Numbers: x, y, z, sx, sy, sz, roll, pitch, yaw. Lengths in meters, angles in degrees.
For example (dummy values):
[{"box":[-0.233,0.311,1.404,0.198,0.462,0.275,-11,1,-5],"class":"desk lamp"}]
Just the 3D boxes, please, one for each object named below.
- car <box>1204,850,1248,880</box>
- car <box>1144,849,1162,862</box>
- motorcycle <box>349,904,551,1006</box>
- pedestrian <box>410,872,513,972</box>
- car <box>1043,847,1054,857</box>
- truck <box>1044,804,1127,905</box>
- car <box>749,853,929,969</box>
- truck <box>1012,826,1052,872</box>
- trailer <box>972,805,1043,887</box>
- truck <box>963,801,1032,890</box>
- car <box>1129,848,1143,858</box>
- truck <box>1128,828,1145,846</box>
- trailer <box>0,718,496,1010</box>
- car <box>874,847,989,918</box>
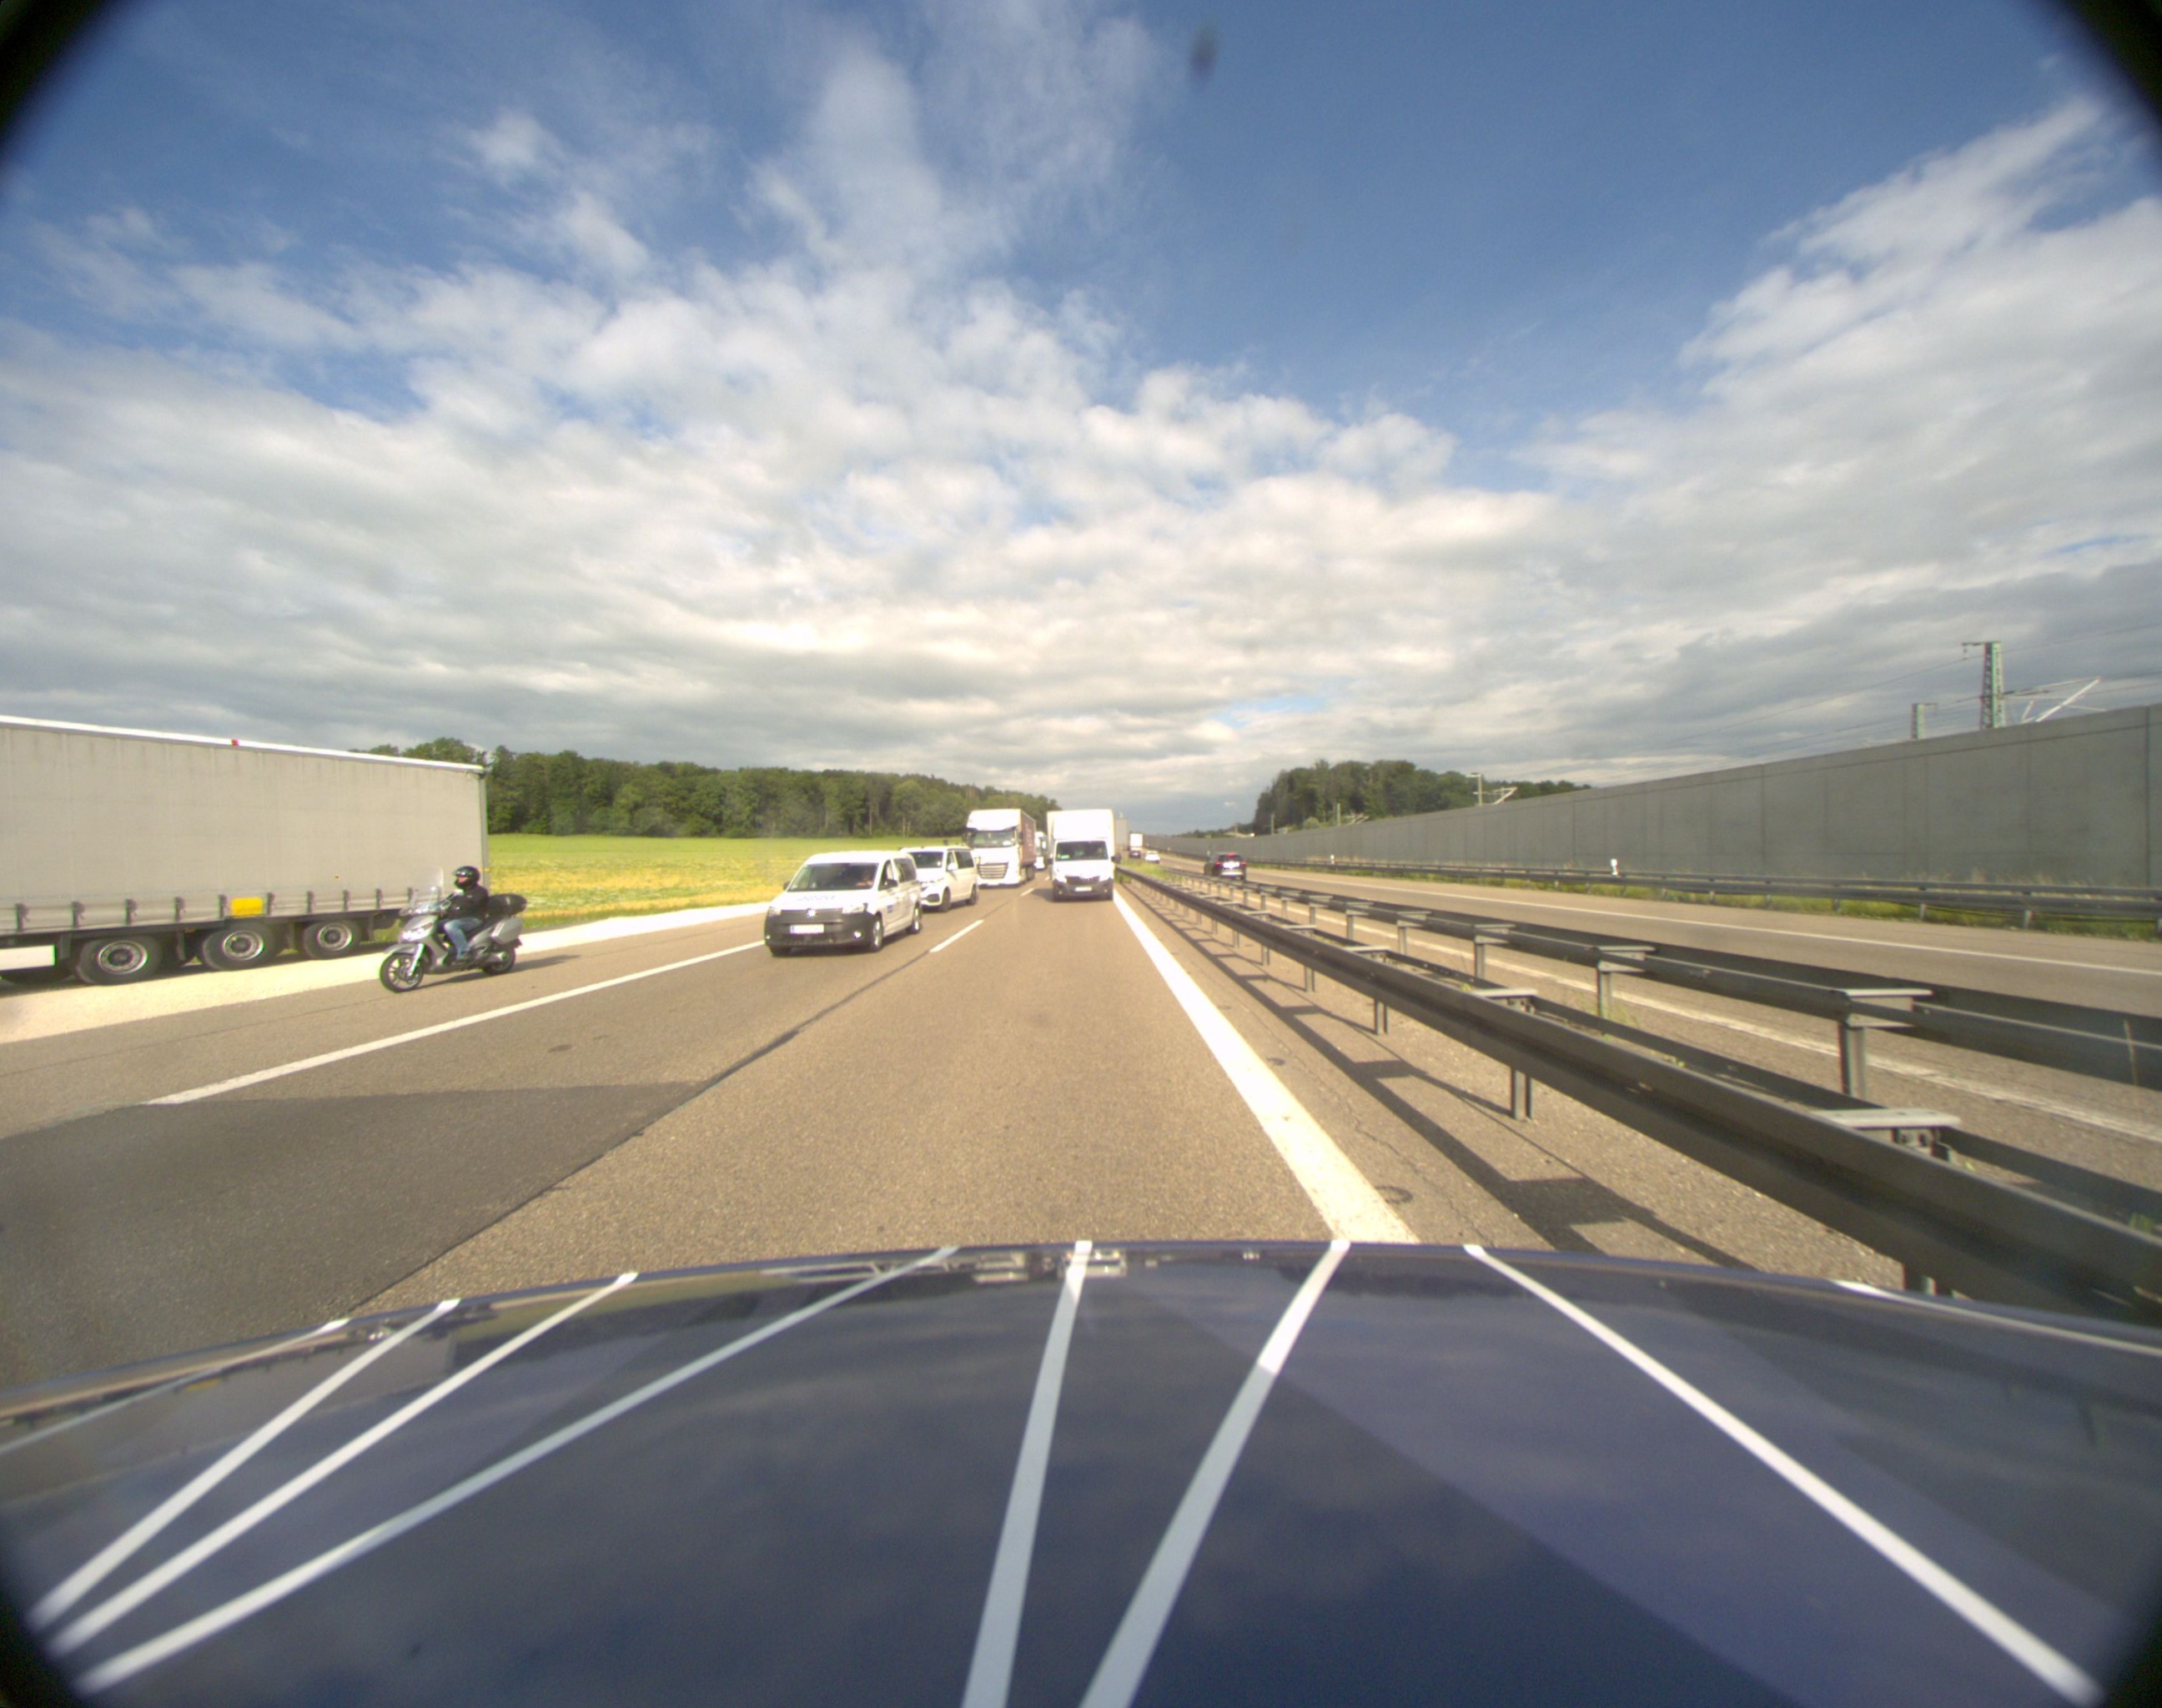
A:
[{"box":[8.326,0.608,43.876,1.720,1.586,4.449,-1,0,1],"class":"car"},{"box":[8.653,0.154,91.544,1.721,1.454,4.449,-1,0,0],"class":"car"},{"box":[-8.883,1.375,10.859,0.757,1.143,2.246,-1,0,9],"class":"motorcycle"},{"box":[-8.877,0.956,10.917,0.757,1.366,0.819,-1,1,9],"class":"pedestrian"},{"box":[-6.199,-0.382,145.107,1.707,1.746,4.676,-3,0,1],"class":"car"},{"box":[0.168,0.014,29.945,2.500,3.082,12.038,-2,0,0],"class":"truck"},{"box":[-4.275,0.901,14.289,1.729,1.746,4.702,-3,0,1],"class":"car"},{"box":[-4.638,-0.446,74.120,2.946,4.094,12.524,-1,0,0],"class":"truck"},{"box":[-4.162,-0.532,46.329,2.742,4.136,14.016,-2,1,0],"class":"trailer"},{"box":[-4.189,-0.442,39.337,2.736,4.150,5.766,-2,1,0],"class":"truck"},{"box":[8.521,-0.124,118.444,1.808,1.454,4.449,-1,0,0],"class":"car"},{"box":[13.126,-3.925,180.102,2.952,4.037,11.745,-2,1,0],"class":"truck"},{"box":[-16.610,0.185,11.088,2.739,4.136,13.843,-2,0,15],"class":"trailer"},{"box":[-4.503,0.780,23.871,1.798,1.914,5.270,-3,0,8],"class":"car"}]
